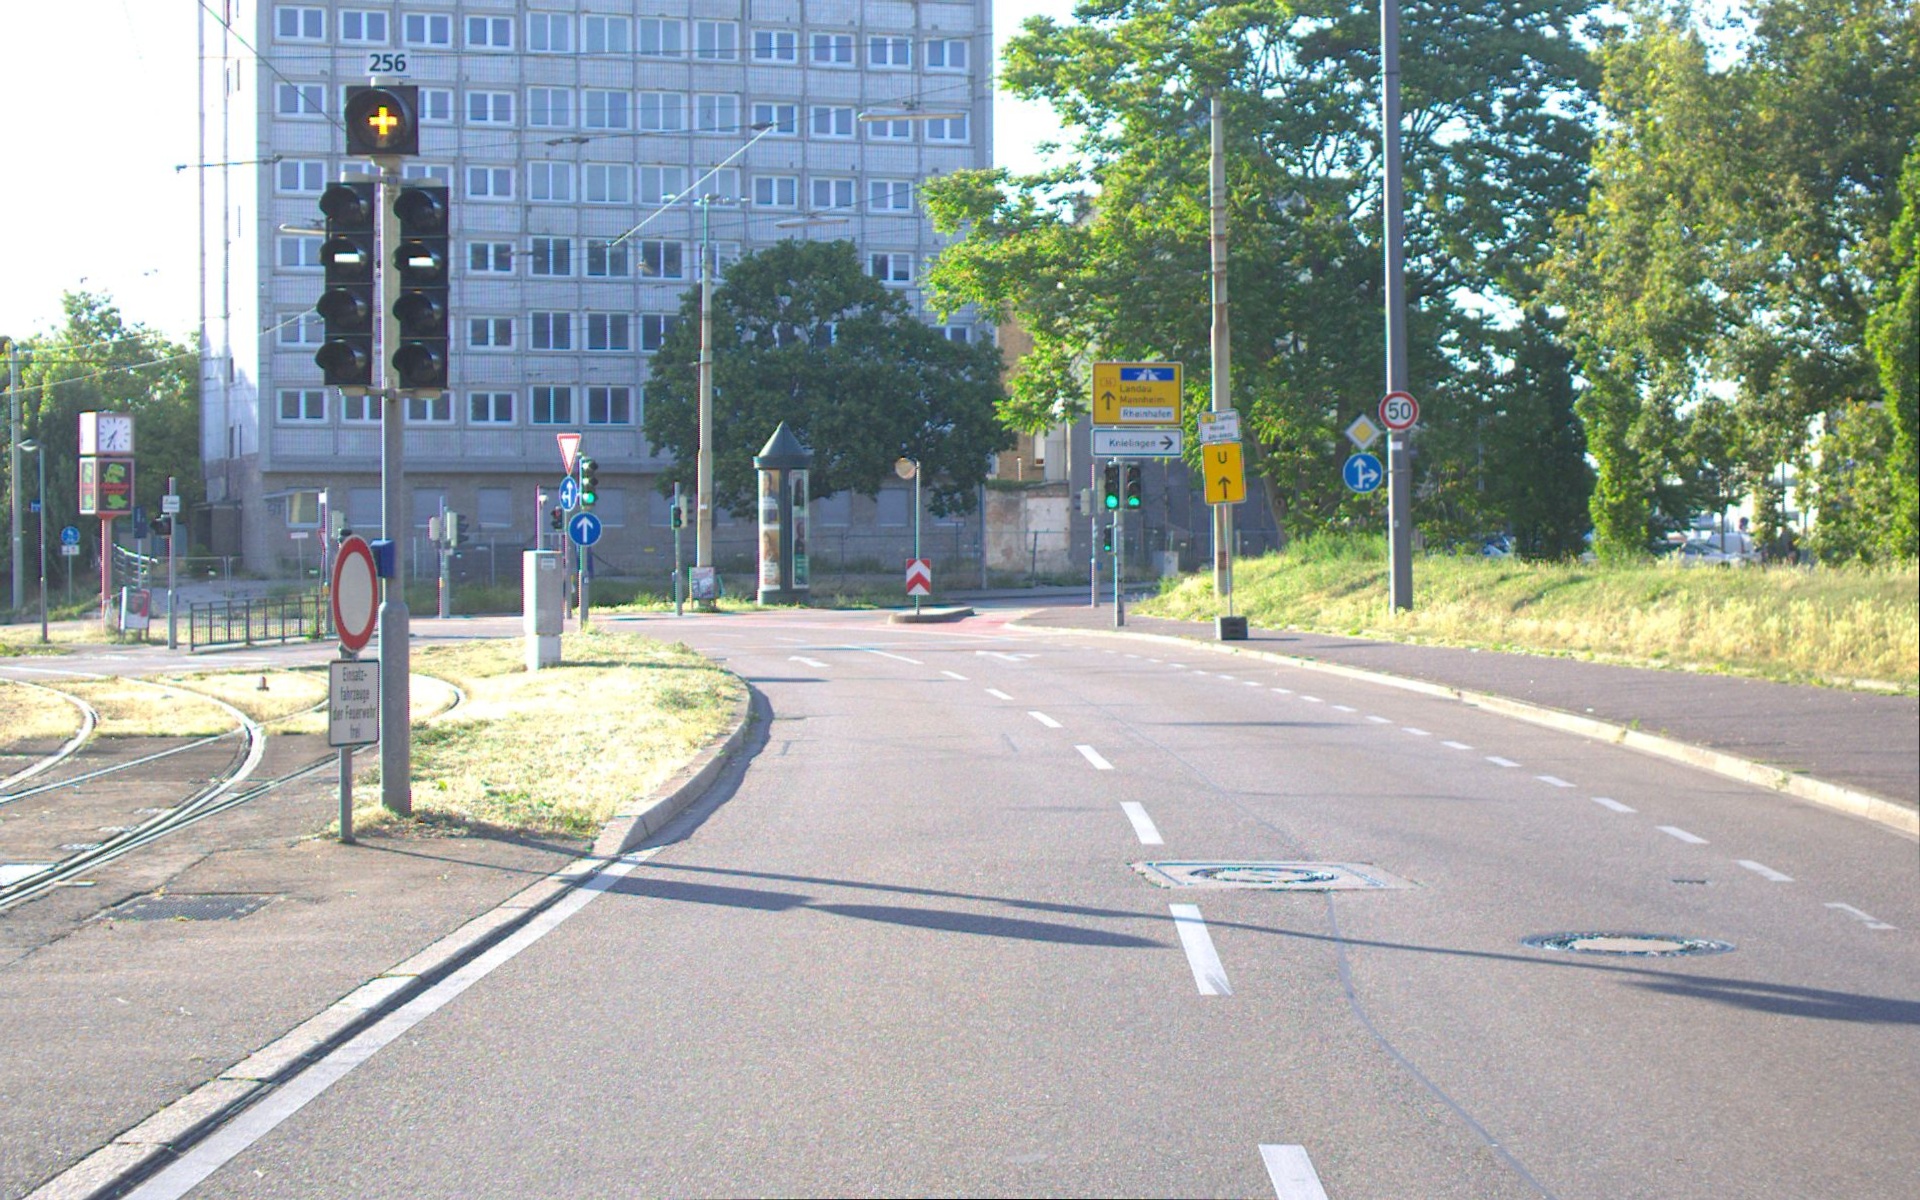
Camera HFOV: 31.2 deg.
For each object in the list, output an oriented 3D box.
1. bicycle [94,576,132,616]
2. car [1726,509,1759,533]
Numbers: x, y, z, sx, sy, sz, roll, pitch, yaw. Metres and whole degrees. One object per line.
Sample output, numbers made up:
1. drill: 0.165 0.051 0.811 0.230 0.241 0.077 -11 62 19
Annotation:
1. bicycle: -20.338 -0.106 82.589 0.553 0.914 1.743 -2 1 -4
2. car: 51.646 -5.226 226.985 1.860 1.538 3.997 -1 1 16
